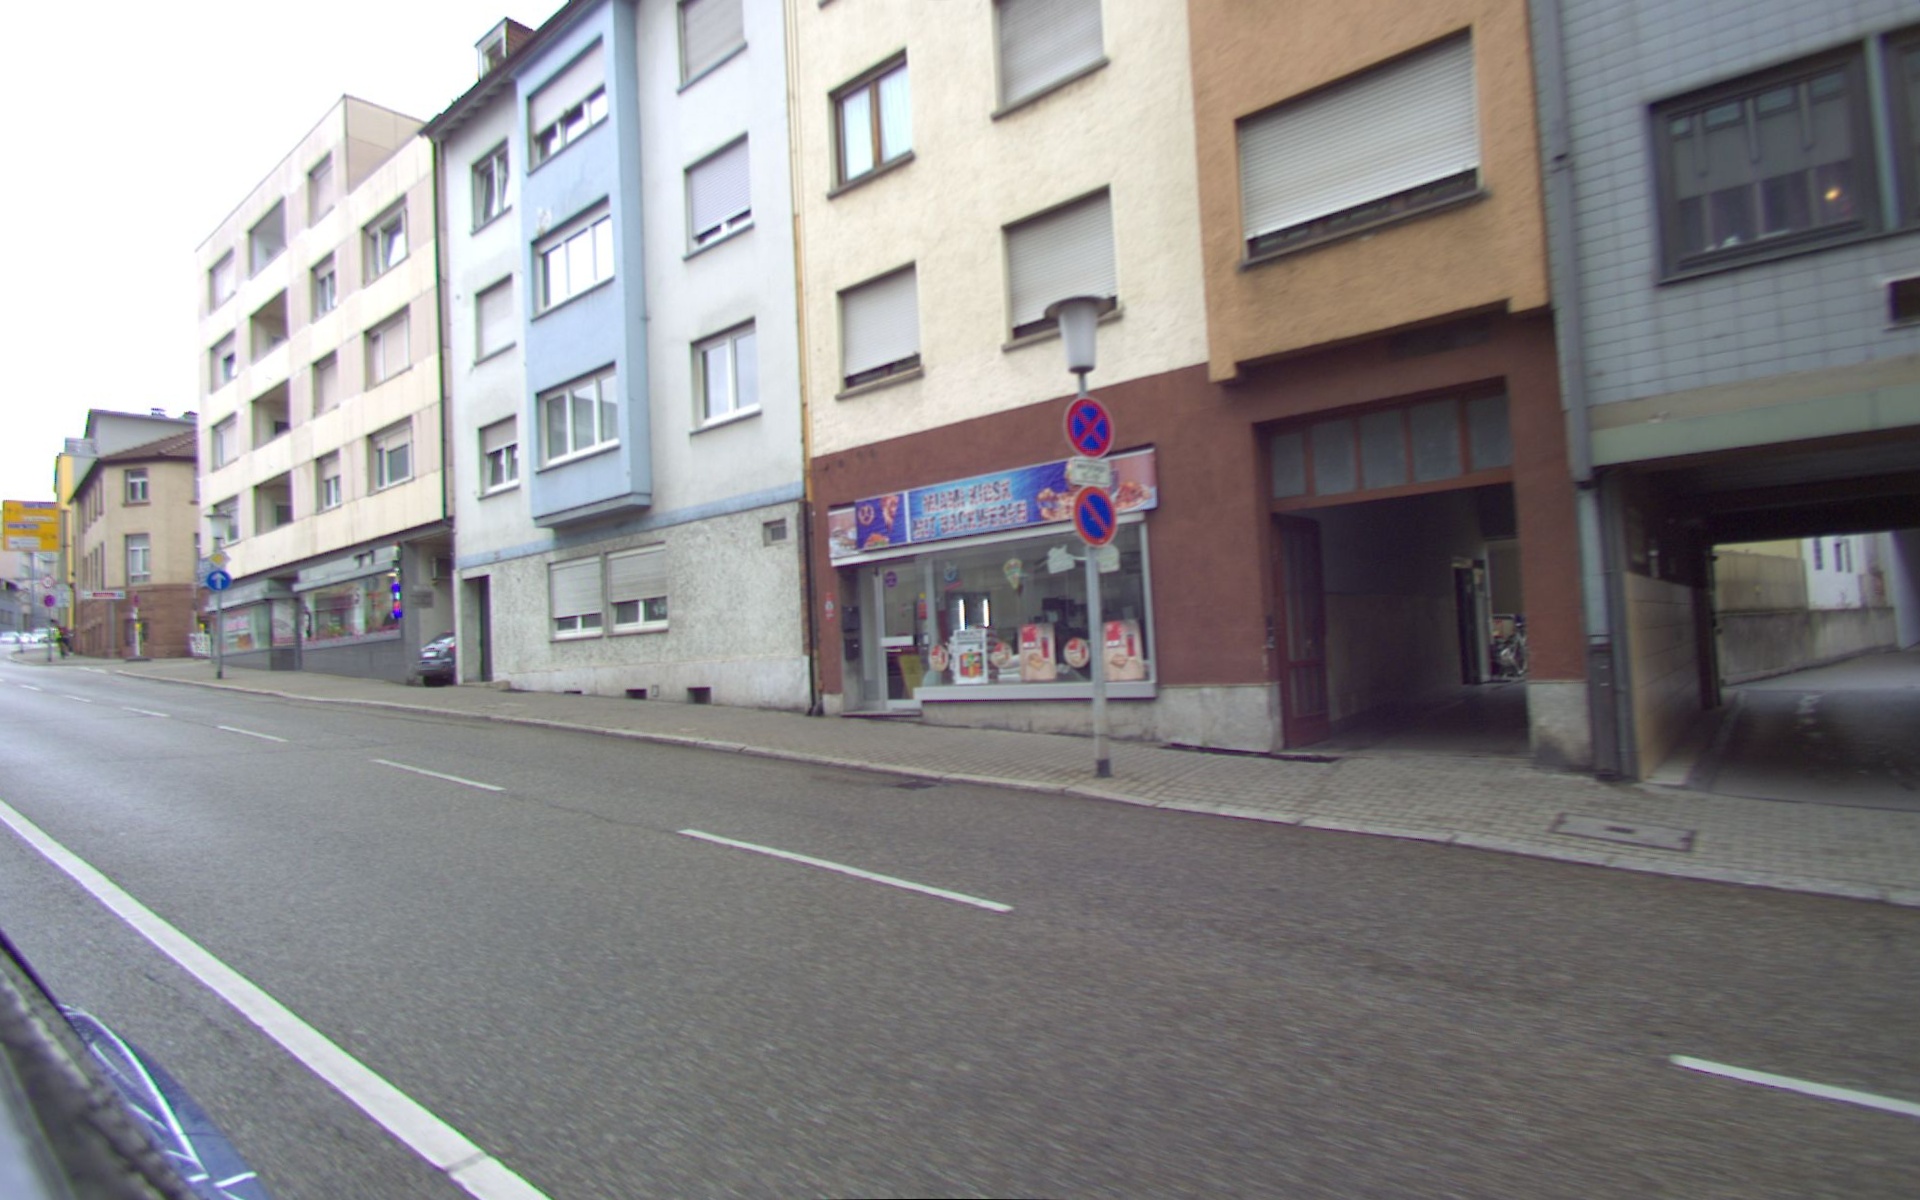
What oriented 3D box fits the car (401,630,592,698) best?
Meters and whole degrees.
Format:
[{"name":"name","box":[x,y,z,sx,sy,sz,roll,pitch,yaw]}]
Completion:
[{"name":"car","box":[-11.349,1.657,25.030,1.673,1.361,3.955,-4,-9,33]}]
